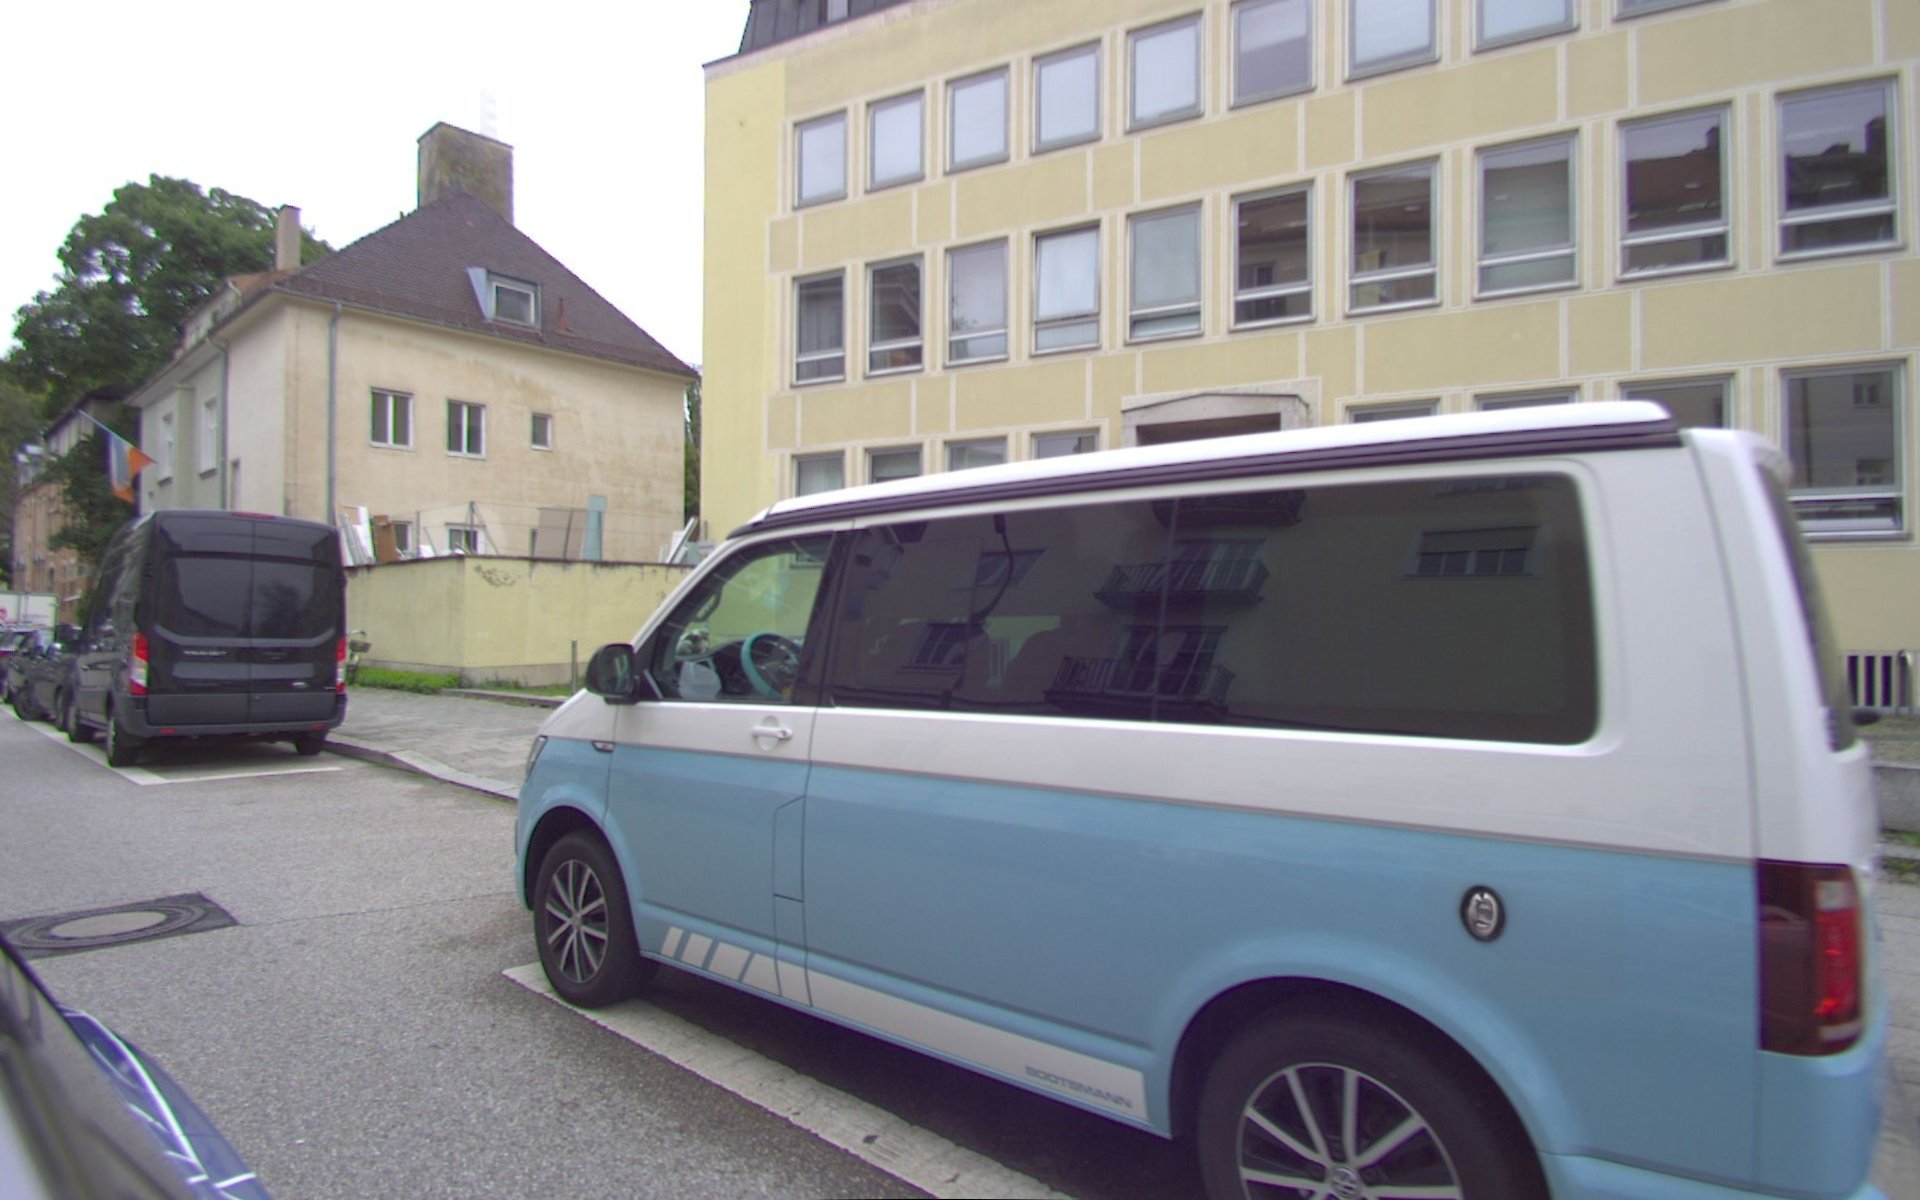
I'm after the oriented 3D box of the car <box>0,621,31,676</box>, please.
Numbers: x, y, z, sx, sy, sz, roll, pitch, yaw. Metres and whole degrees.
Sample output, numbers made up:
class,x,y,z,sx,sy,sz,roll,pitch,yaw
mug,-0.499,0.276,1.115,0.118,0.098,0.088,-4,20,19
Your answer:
class,x,y,z,sx,sy,sz,roll,pitch,yaw
car,-29.619,1.421,30.704,3.920,1.615,1.669,-1,-3,41

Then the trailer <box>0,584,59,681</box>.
class,x,y,z,sx,sy,sz,roll,pitch,yaw
trailer,-25.907,0.874,27.547,4.388,2.480,1.690,-2,-4,45

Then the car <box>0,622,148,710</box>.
class,x,y,z,sx,sy,sz,roll,pitch,yaw
car,-16.792,1.167,19.000,3.821,1.457,1.684,-2,-1,39

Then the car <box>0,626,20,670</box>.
class,x,y,z,sx,sy,sz,roll,pitch,yaw
car,-33.783,1.590,34.580,4.329,1.423,1.842,0,-3,39

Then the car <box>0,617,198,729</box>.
class,x,y,z,sx,sy,sz,roll,pitch,yaw
car,-13.417,1.040,15.679,3.535,1.550,1.572,-1,-1,35

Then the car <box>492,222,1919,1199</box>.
class,x,y,z,sx,sy,sz,roll,pitch,yaw
car,0.411,0.482,3.546,4.596,1.946,1.864,-2,-3,39

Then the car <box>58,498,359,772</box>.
class,x,y,z,sx,sy,sz,roll,pitch,yaw
car,-9.379,0.411,12.417,5.377,2.656,2.065,-2,-2,43

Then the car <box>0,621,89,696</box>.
class,x,y,z,sx,sy,sz,roll,pitch,yaw
car,-21.389,1.283,23.180,4.542,1.550,1.746,-1,-3,44
